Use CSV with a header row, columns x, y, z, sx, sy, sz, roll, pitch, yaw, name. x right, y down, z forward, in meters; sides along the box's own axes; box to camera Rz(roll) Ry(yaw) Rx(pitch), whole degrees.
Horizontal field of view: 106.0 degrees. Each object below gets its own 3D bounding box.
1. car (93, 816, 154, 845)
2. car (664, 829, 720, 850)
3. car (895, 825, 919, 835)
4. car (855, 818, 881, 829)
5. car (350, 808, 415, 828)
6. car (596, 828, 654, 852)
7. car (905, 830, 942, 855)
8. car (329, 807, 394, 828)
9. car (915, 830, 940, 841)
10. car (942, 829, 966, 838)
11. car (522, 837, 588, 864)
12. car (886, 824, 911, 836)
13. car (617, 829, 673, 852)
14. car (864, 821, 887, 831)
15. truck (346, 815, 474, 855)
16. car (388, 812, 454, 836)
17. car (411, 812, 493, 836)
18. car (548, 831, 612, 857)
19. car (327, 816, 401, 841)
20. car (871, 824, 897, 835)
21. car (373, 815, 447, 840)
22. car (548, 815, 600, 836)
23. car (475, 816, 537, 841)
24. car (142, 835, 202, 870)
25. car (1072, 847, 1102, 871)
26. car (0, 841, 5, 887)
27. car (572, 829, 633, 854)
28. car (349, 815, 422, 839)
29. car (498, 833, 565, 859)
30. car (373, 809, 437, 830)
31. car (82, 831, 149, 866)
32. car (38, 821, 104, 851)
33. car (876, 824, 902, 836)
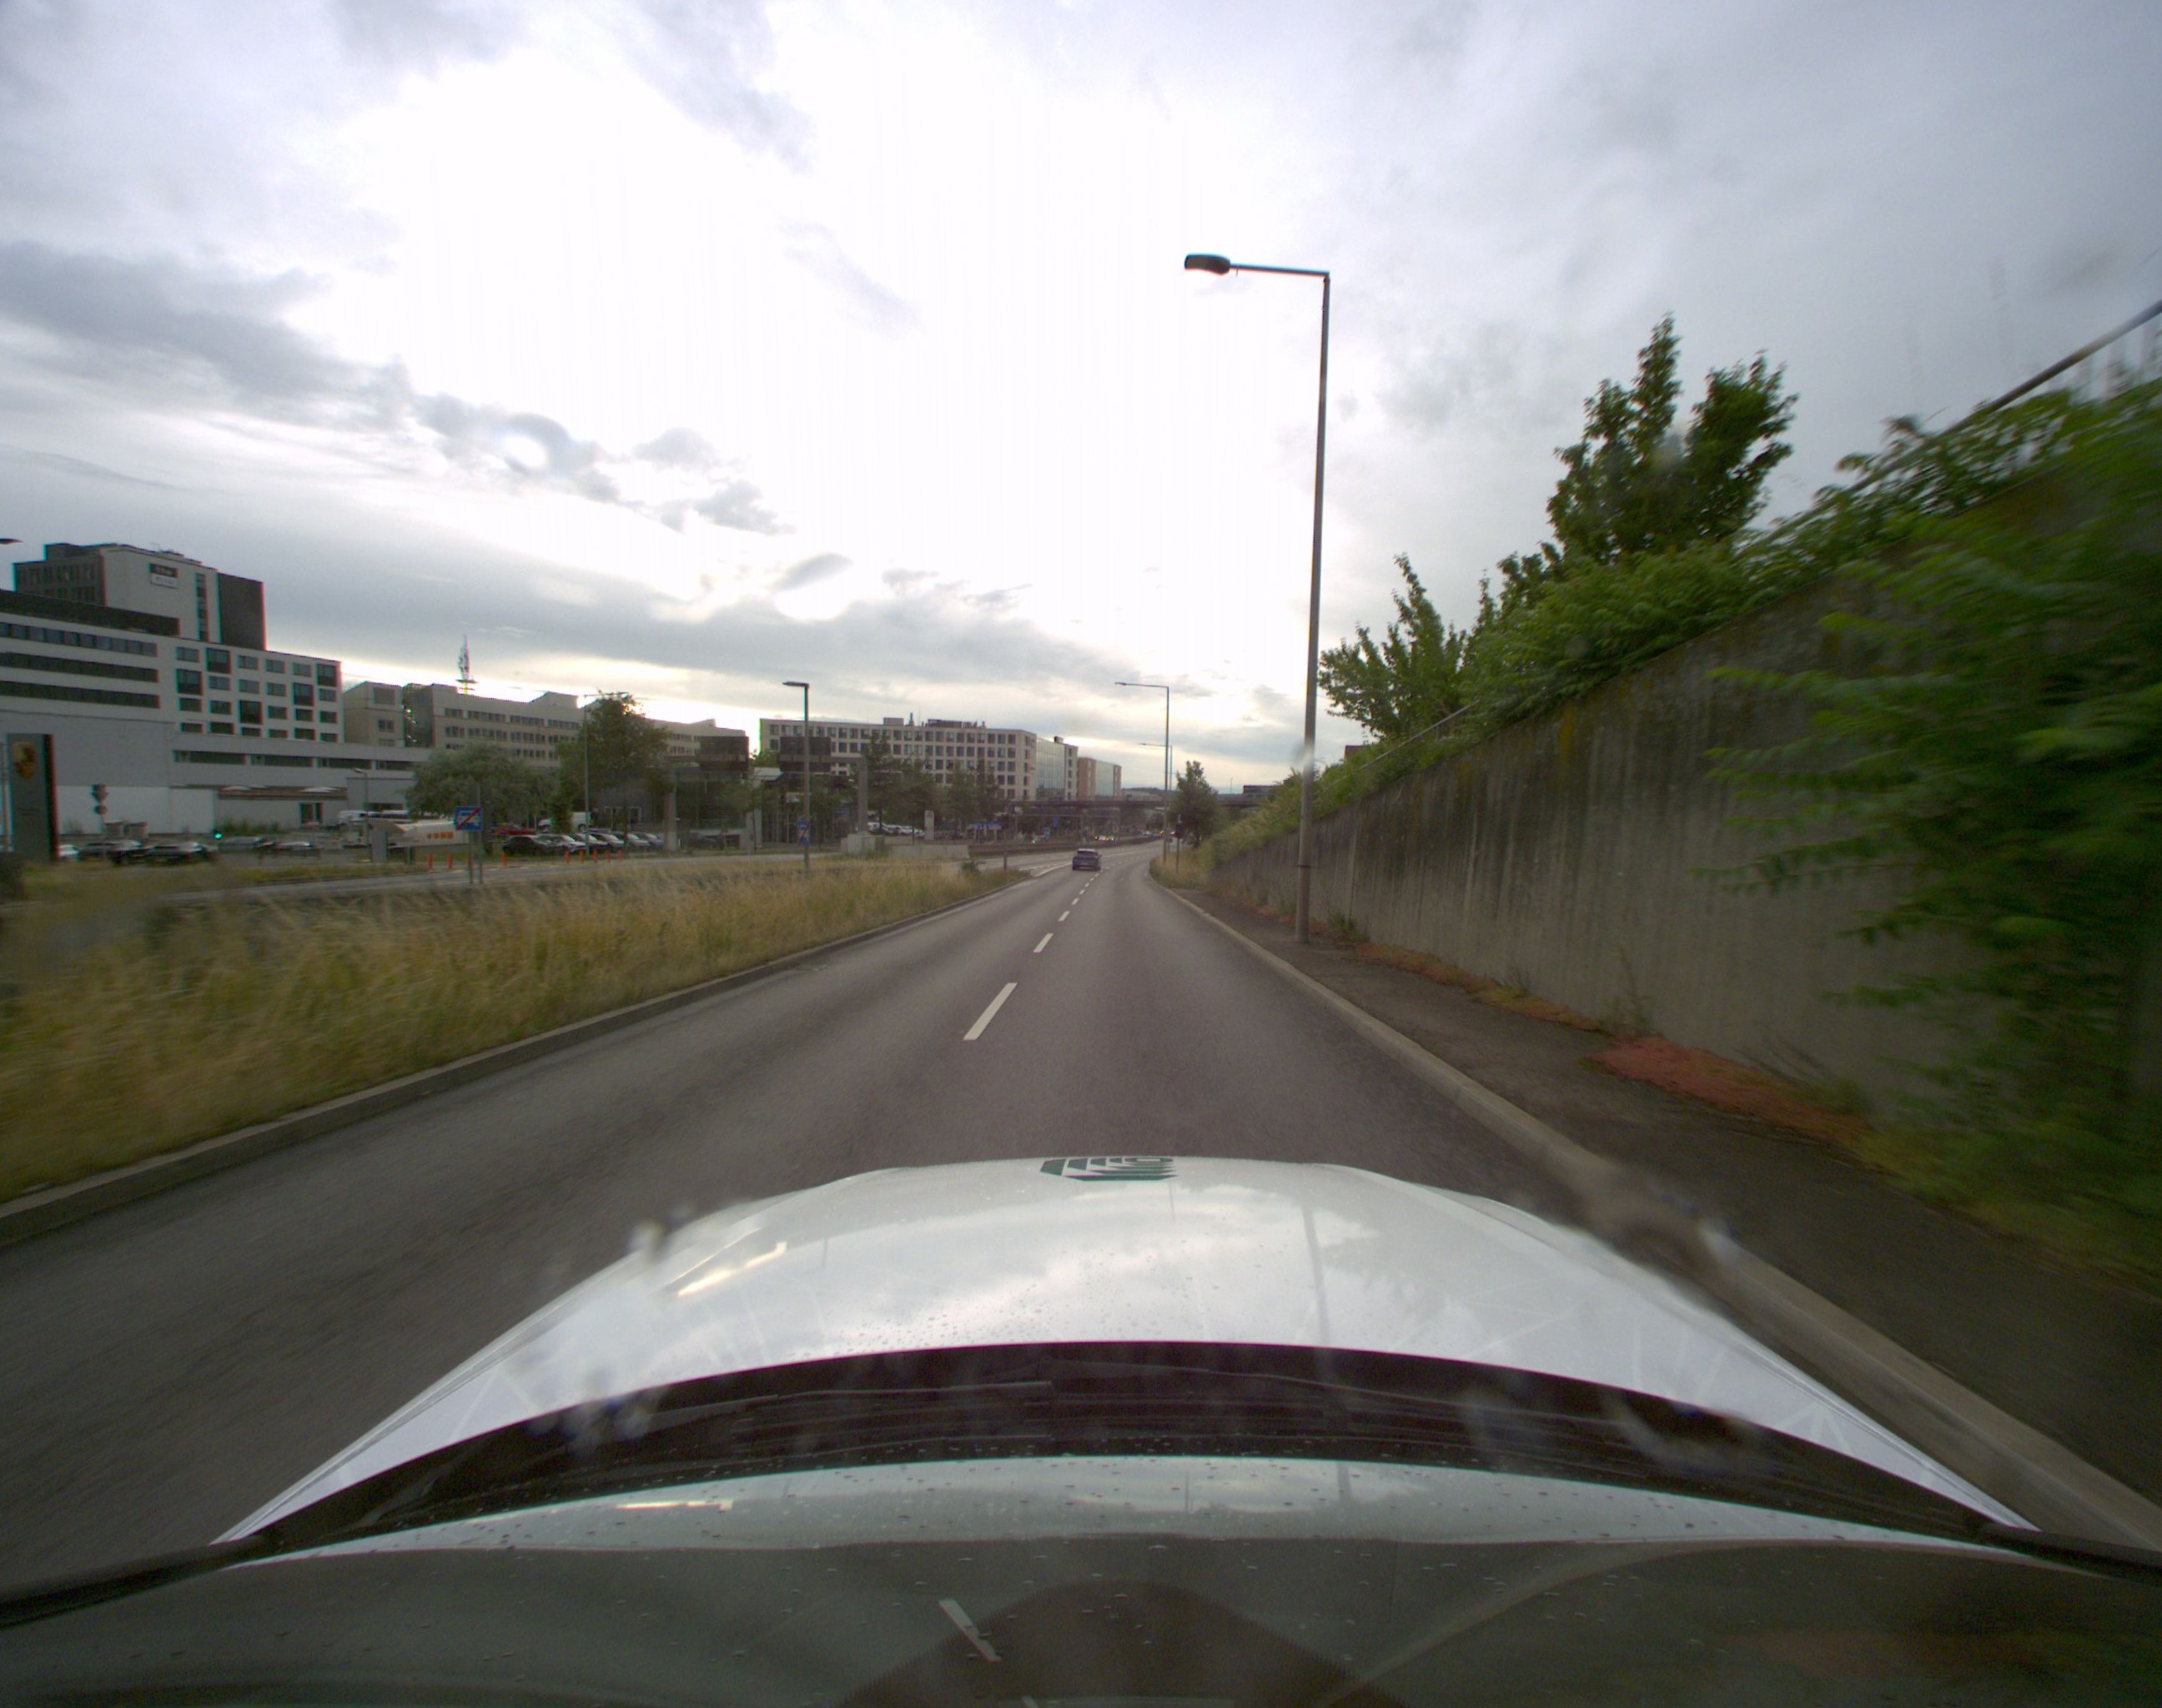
x,y,z,sx,sy,sz,roll,pitch,yaw,name
-66.241,-1.644,56.409,2.010,1.705,3.956,0,6,-39,car
-36.645,-1.377,76.817,1.900,1.683,4.530,5,5,28,car
-33.283,-4.599,155.700,3.959,1.650,2.009,4,4,14,car
-39.239,-5.616,150.040,3.965,1.650,2.005,4,4,7,car
-62.495,-3.249,72.913,1.903,1.683,4.018,4,4,15,car
-38.555,-1.165,68.883,3.962,1.683,1.930,4,4,10,car
-12.199,-0.912,63.243,1.678,1.589,3.558,4,4,8,car
-64.764,-3.317,73.400,1.903,1.683,4.018,4,4,15,car
-26.701,-3.190,141.393,4.000,1.650,1.987,3,2,-20,car
-24.010,-3.844,153.699,3.961,1.353,1.856,4,2,11,car
-39.916,-0.274,61.827,3.962,1.683,1.930,4,4,10,car
-33.644,-4.402,150.288,3.959,1.875,2.009,4,4,14,car
-38.090,-1.169,71.195,3.962,1.683,1.930,4,4,10,car
-39.445,-5.419,156.343,3.967,1.650,1.825,4,4,6,car
-49.473,-1.532,60.367,2.351,2.526,7.439,4,4,12,truck
-57.266,-2.659,70.764,1.979,1.880,4.018,4,4,15,car
-54.732,-2.614,71.024,1.979,1.881,5.560,4,3,15,car
-39.451,-0.837,64.117,3.962,1.683,1.930,4,4,10,car
-56.905,-2.059,64.745,1.903,1.683,4.018,4,4,15,car
-35.205,-4.307,145.400,3.965,1.650,2.005,4,4,7,car
-52.094,-2.086,63.311,1.903,1.683,4.018,4,4,15,car
-49.692,-2.825,79.847,4.001,1.781,1.911,2,4,-21,car
-49.316,-2.249,69.967,1.888,1.880,4.018,4,4,15,car
-59.488,-0.139,53.370,2.010,1.880,3.956,0,6,-39,car
0.439,0.333,56.491,1.740,1.419,3.485,-1,2,6,car
-62.100,0.513,43.717,5.122,2.488,2.534,3,4,-1,car
-39.034,-1.008,66.506,3.962,1.683,1.930,4,4,10,car
-54.797,-2.187,64.252,1.903,1.683,4.018,4,4,15,car
-40.277,-0.610,59.676,3.976,1.599,1.705,4,4,10,car
-59.628,-3.053,71.922,1.903,1.683,4.018,4,4,15,car
-61.901,-0.376,52.297,2.010,1.880,3.956,0,6,-39,car
-68.975,-1.268,55.707,2.010,1.705,3.956,0,6,-39,car
-34.921,-4.304,148.078,3.958,2.013,2.008,3,1,14,car
